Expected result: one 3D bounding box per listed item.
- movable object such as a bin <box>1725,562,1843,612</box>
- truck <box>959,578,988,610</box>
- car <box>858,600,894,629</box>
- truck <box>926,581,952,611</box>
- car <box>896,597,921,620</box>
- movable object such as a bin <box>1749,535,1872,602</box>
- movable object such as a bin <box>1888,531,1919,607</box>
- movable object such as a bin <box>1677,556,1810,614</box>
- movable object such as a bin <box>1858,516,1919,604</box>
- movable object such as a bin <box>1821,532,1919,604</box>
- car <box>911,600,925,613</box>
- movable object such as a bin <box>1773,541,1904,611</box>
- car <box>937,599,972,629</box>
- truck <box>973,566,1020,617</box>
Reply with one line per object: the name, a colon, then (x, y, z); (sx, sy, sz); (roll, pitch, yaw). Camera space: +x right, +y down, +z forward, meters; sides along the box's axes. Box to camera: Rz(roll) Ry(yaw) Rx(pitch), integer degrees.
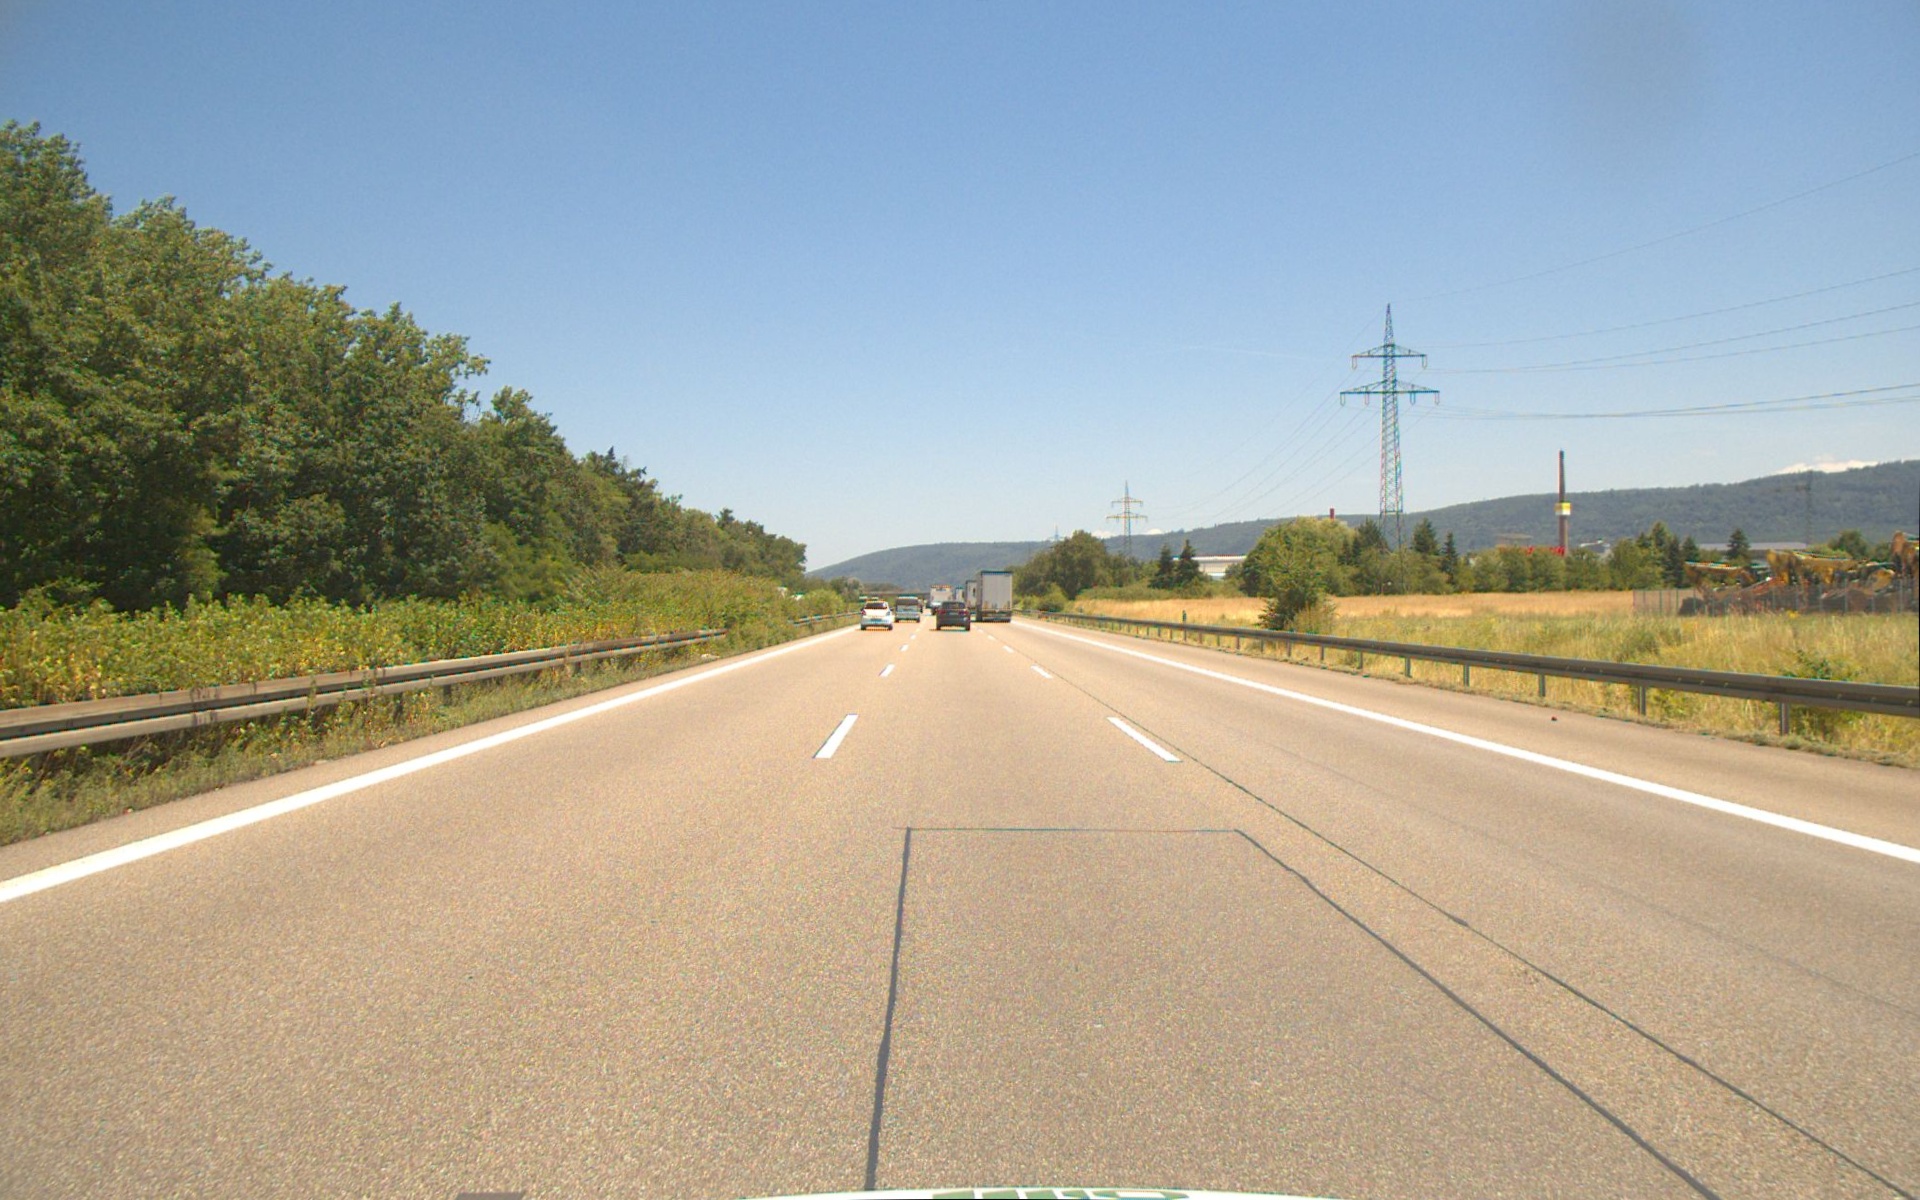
movable object such as a bin: (51.954, -0.818, 104.403); (6.213, 2.930, 2.275); (-2, 0, 5)
truck: (1.562, -0.718, 195.239); (3.034, 3.535, 11.539); (1, 0, -1)
car: (-4.517, 0.780, 89.457); (1.770, 1.494, 3.999); (1, 0, -1)
truck: (-2.640, -0.472, 202.223); (3.034, 3.535, 11.539); (1, 0, -1)
car: (-3.855, 0.636, 124.389); (1.814, 1.661, 3.999); (1, 0, -1)
movable object such as a bin: (51.900, -1.902, 101.030); (6.213, 3.797, 2.275); (-2, 0, 5)
movable object such as a bin: (52.577, -1.721, 85.432); (7.358, 3.849, 3.105); (-2, 0, 6)
movable object such as a bin: (51.098, -0.969, 107.998); (7.387, 3.461, 2.275); (-2, 0, 5)
movable object such as a bin: (53.029, -2.247, 89.169); (7.358, 4.606, 3.105); (-2, 0, 6)
movable object such as a bin: (53.362, -1.866, 93.038); (8.013, 3.797, 3.339); (-2, 0, 6)
car: (-5.846, 0.927, 231.831); (1.814, 1.661, 3.999); (1, 0, -1)
movable object such as a bin: (51.719, -1.410, 97.445); (6.213, 3.797, 2.497); (-2, 0, 5)
car: (-0.298, 0.773, 90.750); (1.846, 1.542, 3.999); (1, 0, -1)
truck: (2.881, -0.698, 134.780); (3.199, 3.925, 11.628); (1, 0, -1)
